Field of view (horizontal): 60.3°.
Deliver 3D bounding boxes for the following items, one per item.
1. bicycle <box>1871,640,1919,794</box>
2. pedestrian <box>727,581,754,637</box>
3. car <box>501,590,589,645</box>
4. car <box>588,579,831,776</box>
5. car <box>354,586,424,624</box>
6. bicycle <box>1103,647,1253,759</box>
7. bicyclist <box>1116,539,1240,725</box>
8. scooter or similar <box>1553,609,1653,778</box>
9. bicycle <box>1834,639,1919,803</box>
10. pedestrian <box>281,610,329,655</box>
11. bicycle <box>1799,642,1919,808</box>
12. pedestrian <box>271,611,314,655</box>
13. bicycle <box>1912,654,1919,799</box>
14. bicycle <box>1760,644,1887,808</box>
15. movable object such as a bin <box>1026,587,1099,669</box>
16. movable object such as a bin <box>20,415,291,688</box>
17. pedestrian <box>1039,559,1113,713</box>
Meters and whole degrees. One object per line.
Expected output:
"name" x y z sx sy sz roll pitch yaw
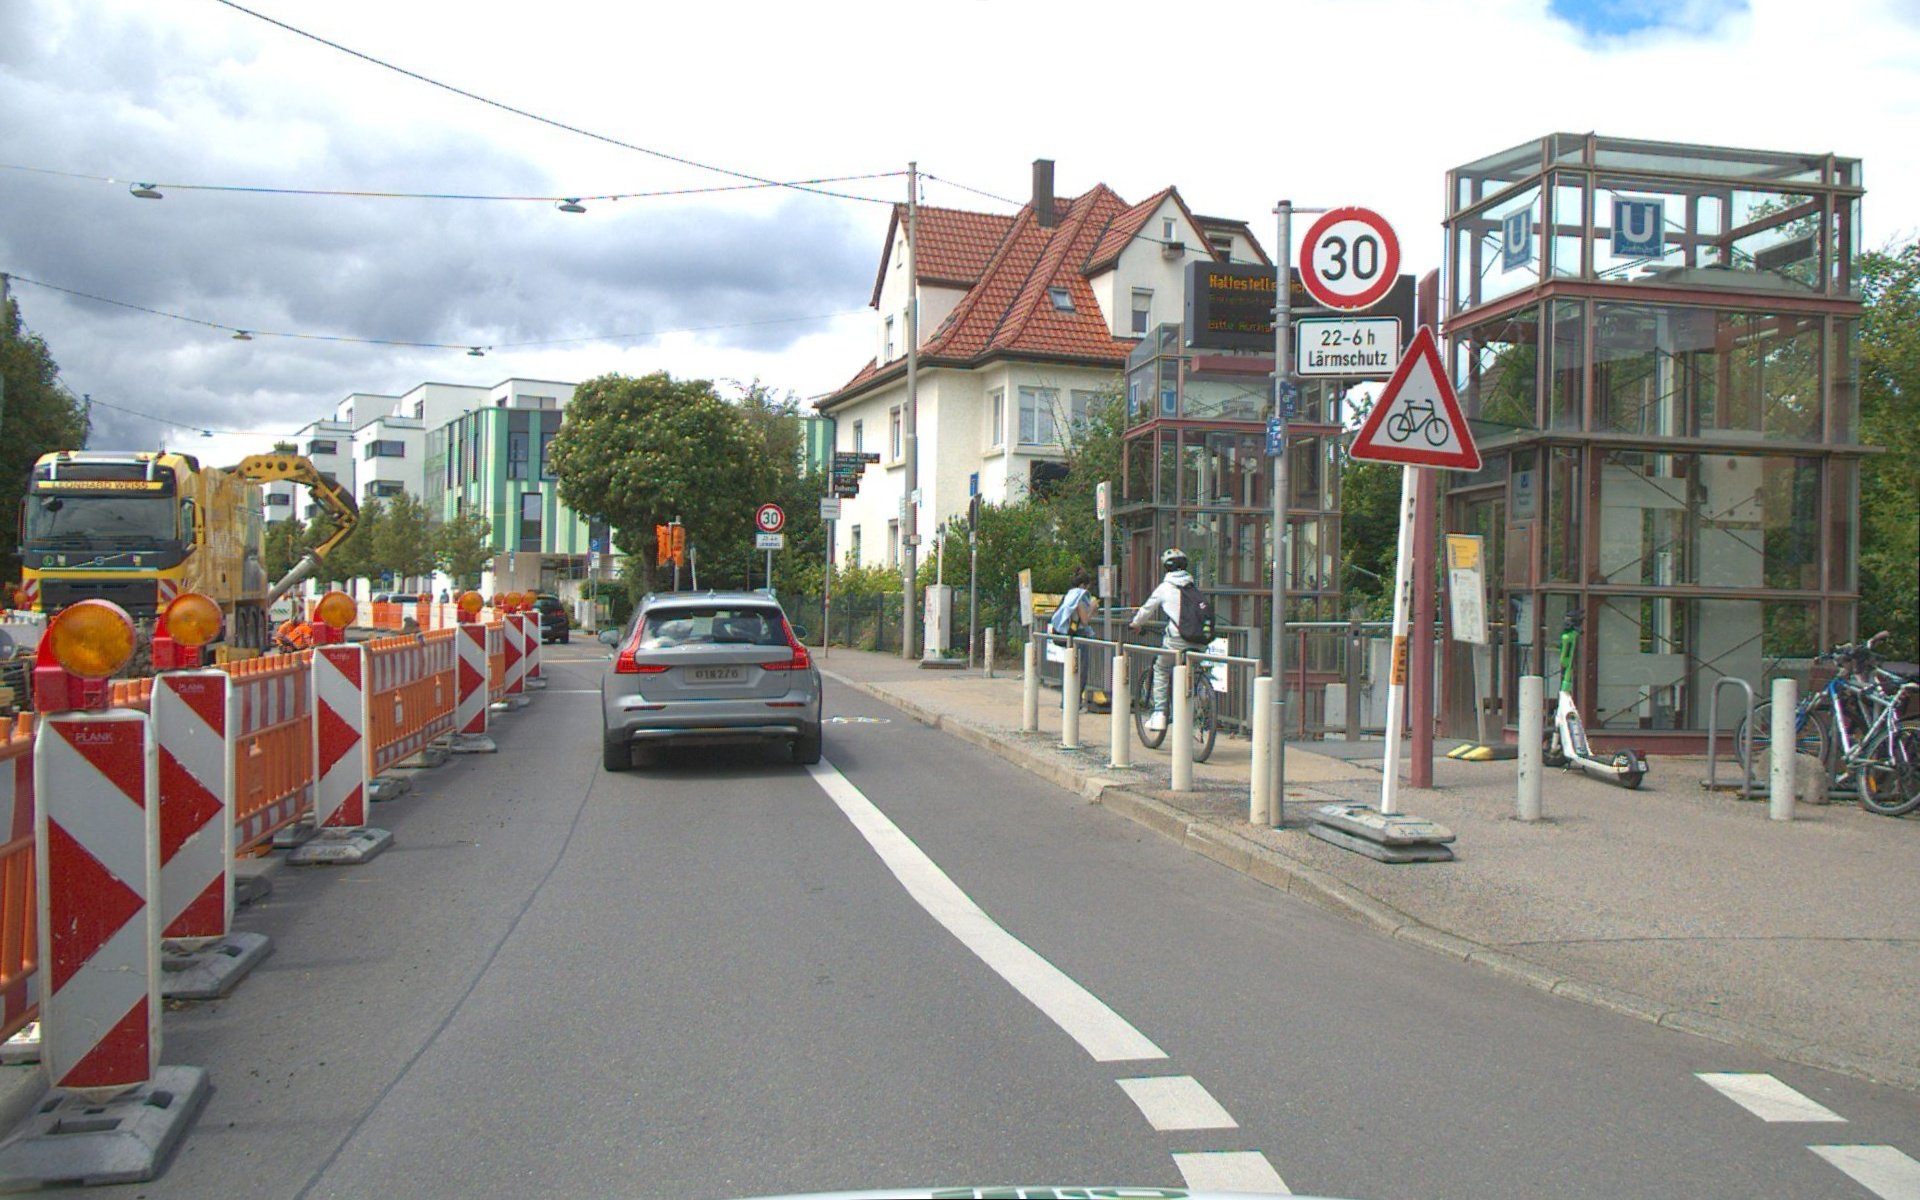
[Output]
"bicycle" 6.600 0.801 11.183 0.211 1.026 1.189 0 0 -1
"pedestrian" -6.200 0.249 46.629 0.509 1.566 0.636 0 0 22
"car" -12.459 0.512 49.556 1.831 1.539 3.969 2 -1 -25
"car" -2.113 0.594 14.967 1.817 1.539 3.997 0 0 -4
"car" -24.840 0.221 71.833 1.829 1.539 3.951 2 -1 -35
"bicycle" 1.760 0.819 13.694 0.624 0.766 2.057 1 1 -10
"bicyclist" 1.762 0.246 13.499 0.644 1.440 1.176 1 0 -11
"scooter or similar" 4.692 0.662 12.109 0.211 1.131 0.944 0 3 -9
"bicycle" 6.339 0.799 11.194 0.211 1.031 1.169 0 0 -1
"pedestrian" -14.950 0.739 37.773 0.774 1.008 0.812 0 0 -1
"bicycle" 6.080 0.814 11.163 0.211 1.018 1.206 0 0 -1
"pedestrian" -15.543 0.757 38.523 0.627 1.008 0.794 0 0 9
"bicycle" 6.892 0.896 11.183 0.211 1.026 1.189 0 0 -1
"bicycle" 5.804 0.819 11.163 0.211 1.006 1.204 0 0 -1
"movable object such as a bin" 1.954 0.527 31.585 1.243 1.496 1.003 1 0 -4
"movable object such as a bin" -14.963 -0.782 31.731 2.548 4.295 11.077 0 0 -15
"pedestrian" 1.264 0.393 18.071 0.587 1.610 0.400 6 -3 -11
